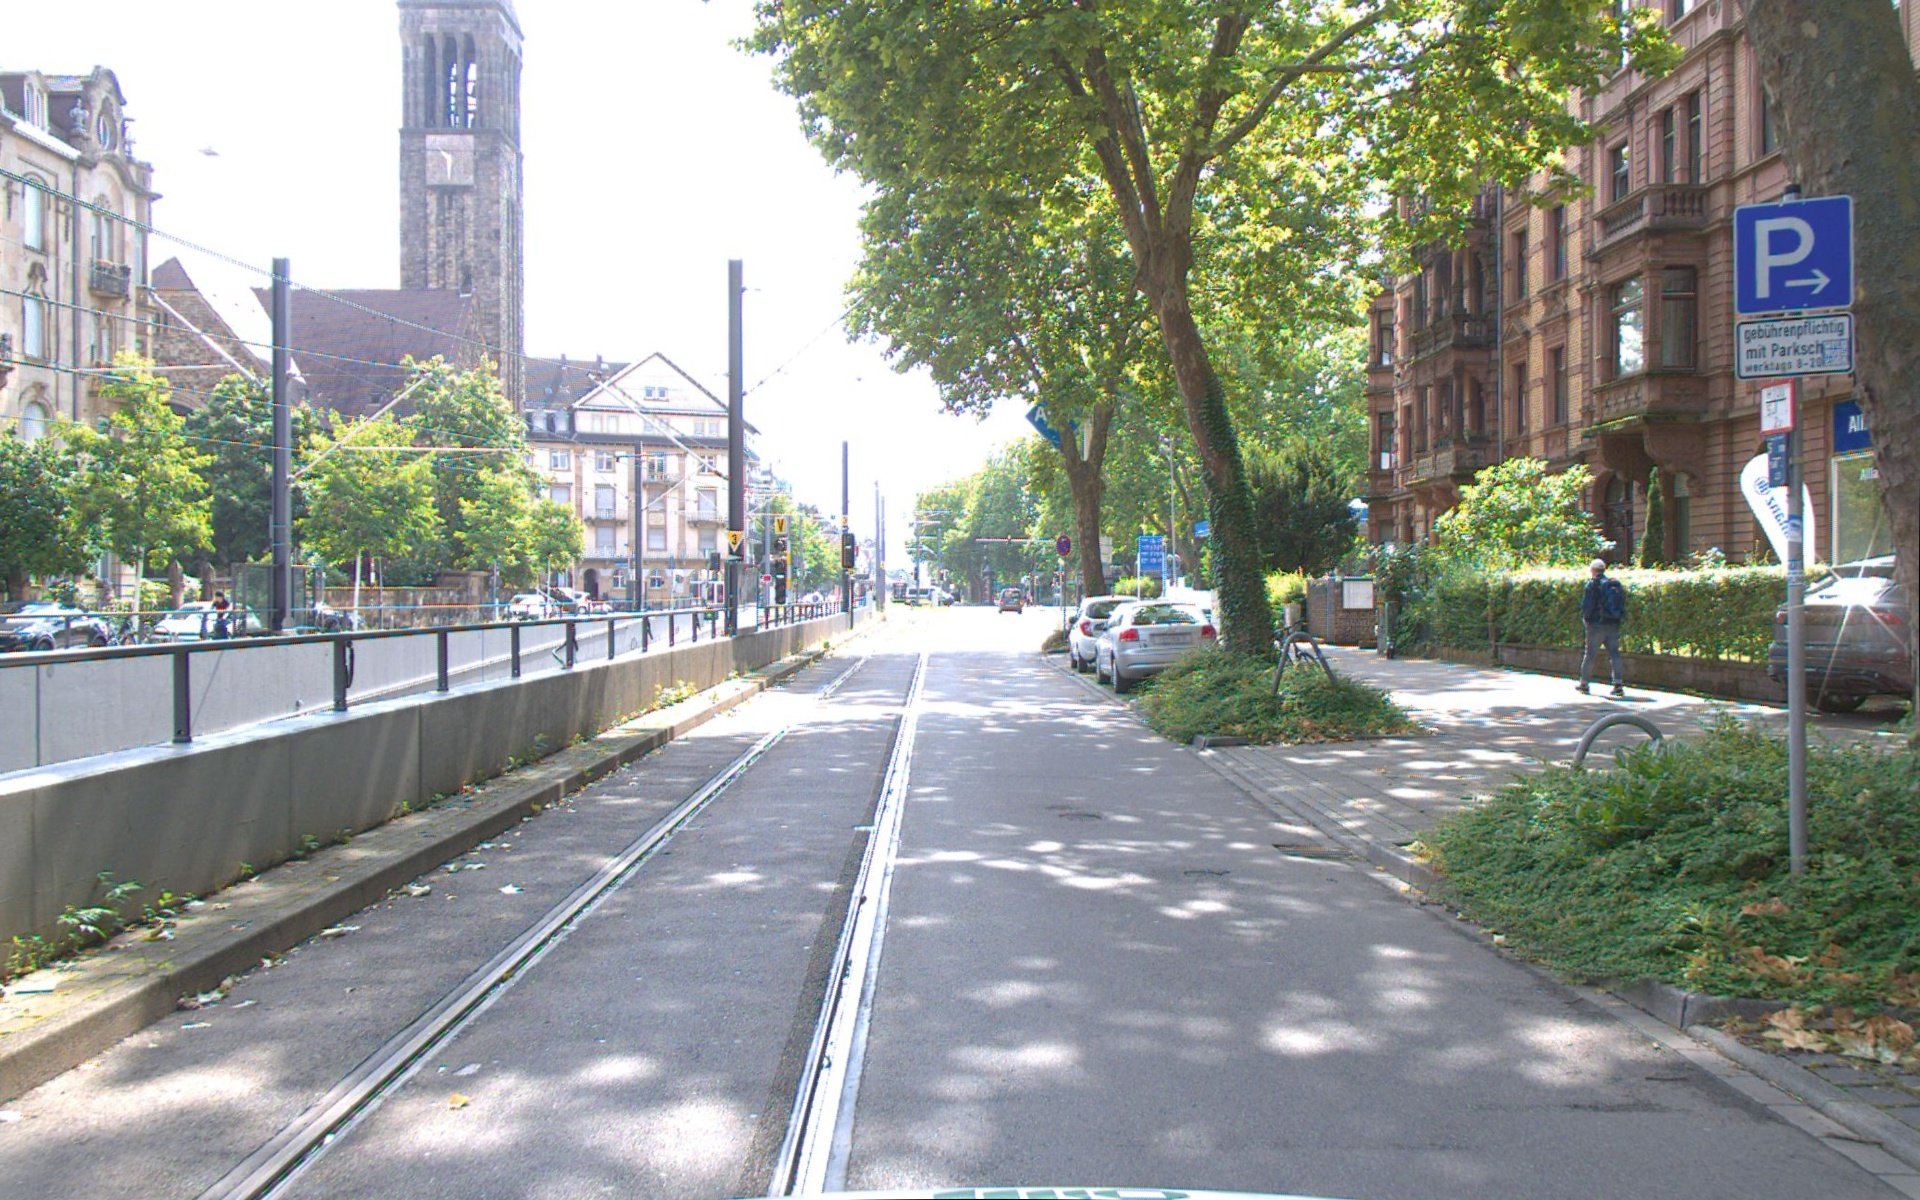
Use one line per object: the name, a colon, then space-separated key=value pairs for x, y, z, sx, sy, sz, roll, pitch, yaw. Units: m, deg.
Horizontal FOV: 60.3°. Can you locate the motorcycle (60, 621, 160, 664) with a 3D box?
motorcycle: x=-21.039 y=1.043 z=40.980 sx=1.725 sy=0.958 sz=1.417 roll=-2 pitch=0 yaw=-2

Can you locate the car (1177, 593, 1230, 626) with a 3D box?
car: x=11.051 y=0.420 z=75.220 sx=1.769 sy=1.481 sz=4.000 roll=0 pitch=0 yaw=-1

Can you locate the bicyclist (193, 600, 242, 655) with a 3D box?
bicyclist: x=-19.164 y=0.702 z=42.695 sx=0.752 sy=1.361 sz=1.049 roll=-2 pitch=0 yaw=0

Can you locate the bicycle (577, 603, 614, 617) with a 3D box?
bicycle: x=-33.274 y=0.942 z=150.916 sx=3.240 sy=1.275 sz=0.999 roll=0 pitch=0 yaw=16

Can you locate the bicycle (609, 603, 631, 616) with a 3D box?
bicycle: x=-30.910 y=0.843 z=150.410 sx=1.955 sy=1.134 sz=0.481 roll=0 pitch=0 yaw=-38

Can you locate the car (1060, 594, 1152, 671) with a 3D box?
car: x=2.991 y=0.651 z=34.513 sx=1.522 sy=1.511 sz=3.857 roll=-1 pitch=0 yaw=-1

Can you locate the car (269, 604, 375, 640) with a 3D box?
car: x=-27.538 y=0.946 z=71.455 sx=3.881 sy=1.489 sz=1.723 roll=-1 pitch=0 yaw=0

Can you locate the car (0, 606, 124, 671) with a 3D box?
car: x=-20.869 y=0.839 z=37.385 sx=1.979 sy=1.350 sz=4.098 roll=0 pitch=0 yaw=-3

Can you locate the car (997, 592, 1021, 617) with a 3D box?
car: x=3.645 y=0.343 z=123.726 sx=1.714 sy=1.840 sz=3.474 roll=1 pitch=0 yaw=0

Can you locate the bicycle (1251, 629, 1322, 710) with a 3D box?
bicycle: x=4.417 y=0.925 z=22.441 sx=0.568 sy=1.037 sz=1.322 roll=-1 pitch=0 yaw=-6

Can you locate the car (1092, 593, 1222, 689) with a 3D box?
car: x=3.207 y=0.637 z=27.539 sx=1.643 sy=1.469 sz=3.857 roll=-1 pitch=0 yaw=-1

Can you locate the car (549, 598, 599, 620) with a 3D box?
car: x=-27.715 y=0.631 z=118.727 sx=3.199 sy=1.528 sz=1.854 roll=0 pitch=0 yaw=-2

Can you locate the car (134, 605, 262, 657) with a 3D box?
car: x=-21.143 y=0.833 z=46.071 sx=1.716 sy=1.351 sz=4.311 roll=-1 pitch=0 yaw=-3

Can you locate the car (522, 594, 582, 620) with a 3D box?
car: x=-28.447 y=0.486 z=115.438 sx=3.793 sy=1.779 sz=1.894 roll=0 pitch=0 yaw=-4

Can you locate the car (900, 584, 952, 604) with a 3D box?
car: x=-3.292 y=-0.559 z=160.002 sx=4.640 sy=1.892 sz=1.999 roll=-1 pitch=0 yaw=24

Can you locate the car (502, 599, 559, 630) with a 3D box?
car: x=-21.716 y=0.713 z=83.717 sx=1.892 sy=1.531 sz=4.412 roll=0 pitch=0 yaw=-2

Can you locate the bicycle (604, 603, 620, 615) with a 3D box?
bicycle: x=-32.142 y=0.831 z=152.599 sx=0.732 sy=1.071 sz=2.541 roll=0 pitch=0 yaw=-29

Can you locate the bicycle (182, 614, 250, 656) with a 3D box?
bicycle: x=-19.161 y=0.893 z=42.638 sx=0.760 sy=0.996 sz=2.140 roll=-2 pitch=0 yaw=0

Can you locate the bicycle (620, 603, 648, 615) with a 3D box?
bicycle: x=-29.924 y=0.863 z=151.835 sx=2.529 sy=1.071 sz=0.676 roll=-1 pitch=0 yaw=-29

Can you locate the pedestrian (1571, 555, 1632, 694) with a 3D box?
pedestrian: x=8.545 y=0.321 z=22.036 sx=0.552 sy=1.817 sz=0.630 roll=-1 pitch=0 yaw=-1

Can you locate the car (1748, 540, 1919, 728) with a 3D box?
car: x=11.167 y=0.219 z=17.631 sx=4.634 sy=1.813 sz=2.001 roll=-3 pitch=0 yaw=-9

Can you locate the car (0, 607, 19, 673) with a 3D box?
car: x=-20.724 y=0.835 z=32.374 sx=1.909 sy=1.350 sz=4.725 roll=0 pitch=0 yaw=0

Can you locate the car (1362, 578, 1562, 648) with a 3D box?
car: x=11.919 y=0.302 z=39.470 sx=4.148 sy=1.495 sz=1.941 roll=-2 pitch=0 yaw=-1
